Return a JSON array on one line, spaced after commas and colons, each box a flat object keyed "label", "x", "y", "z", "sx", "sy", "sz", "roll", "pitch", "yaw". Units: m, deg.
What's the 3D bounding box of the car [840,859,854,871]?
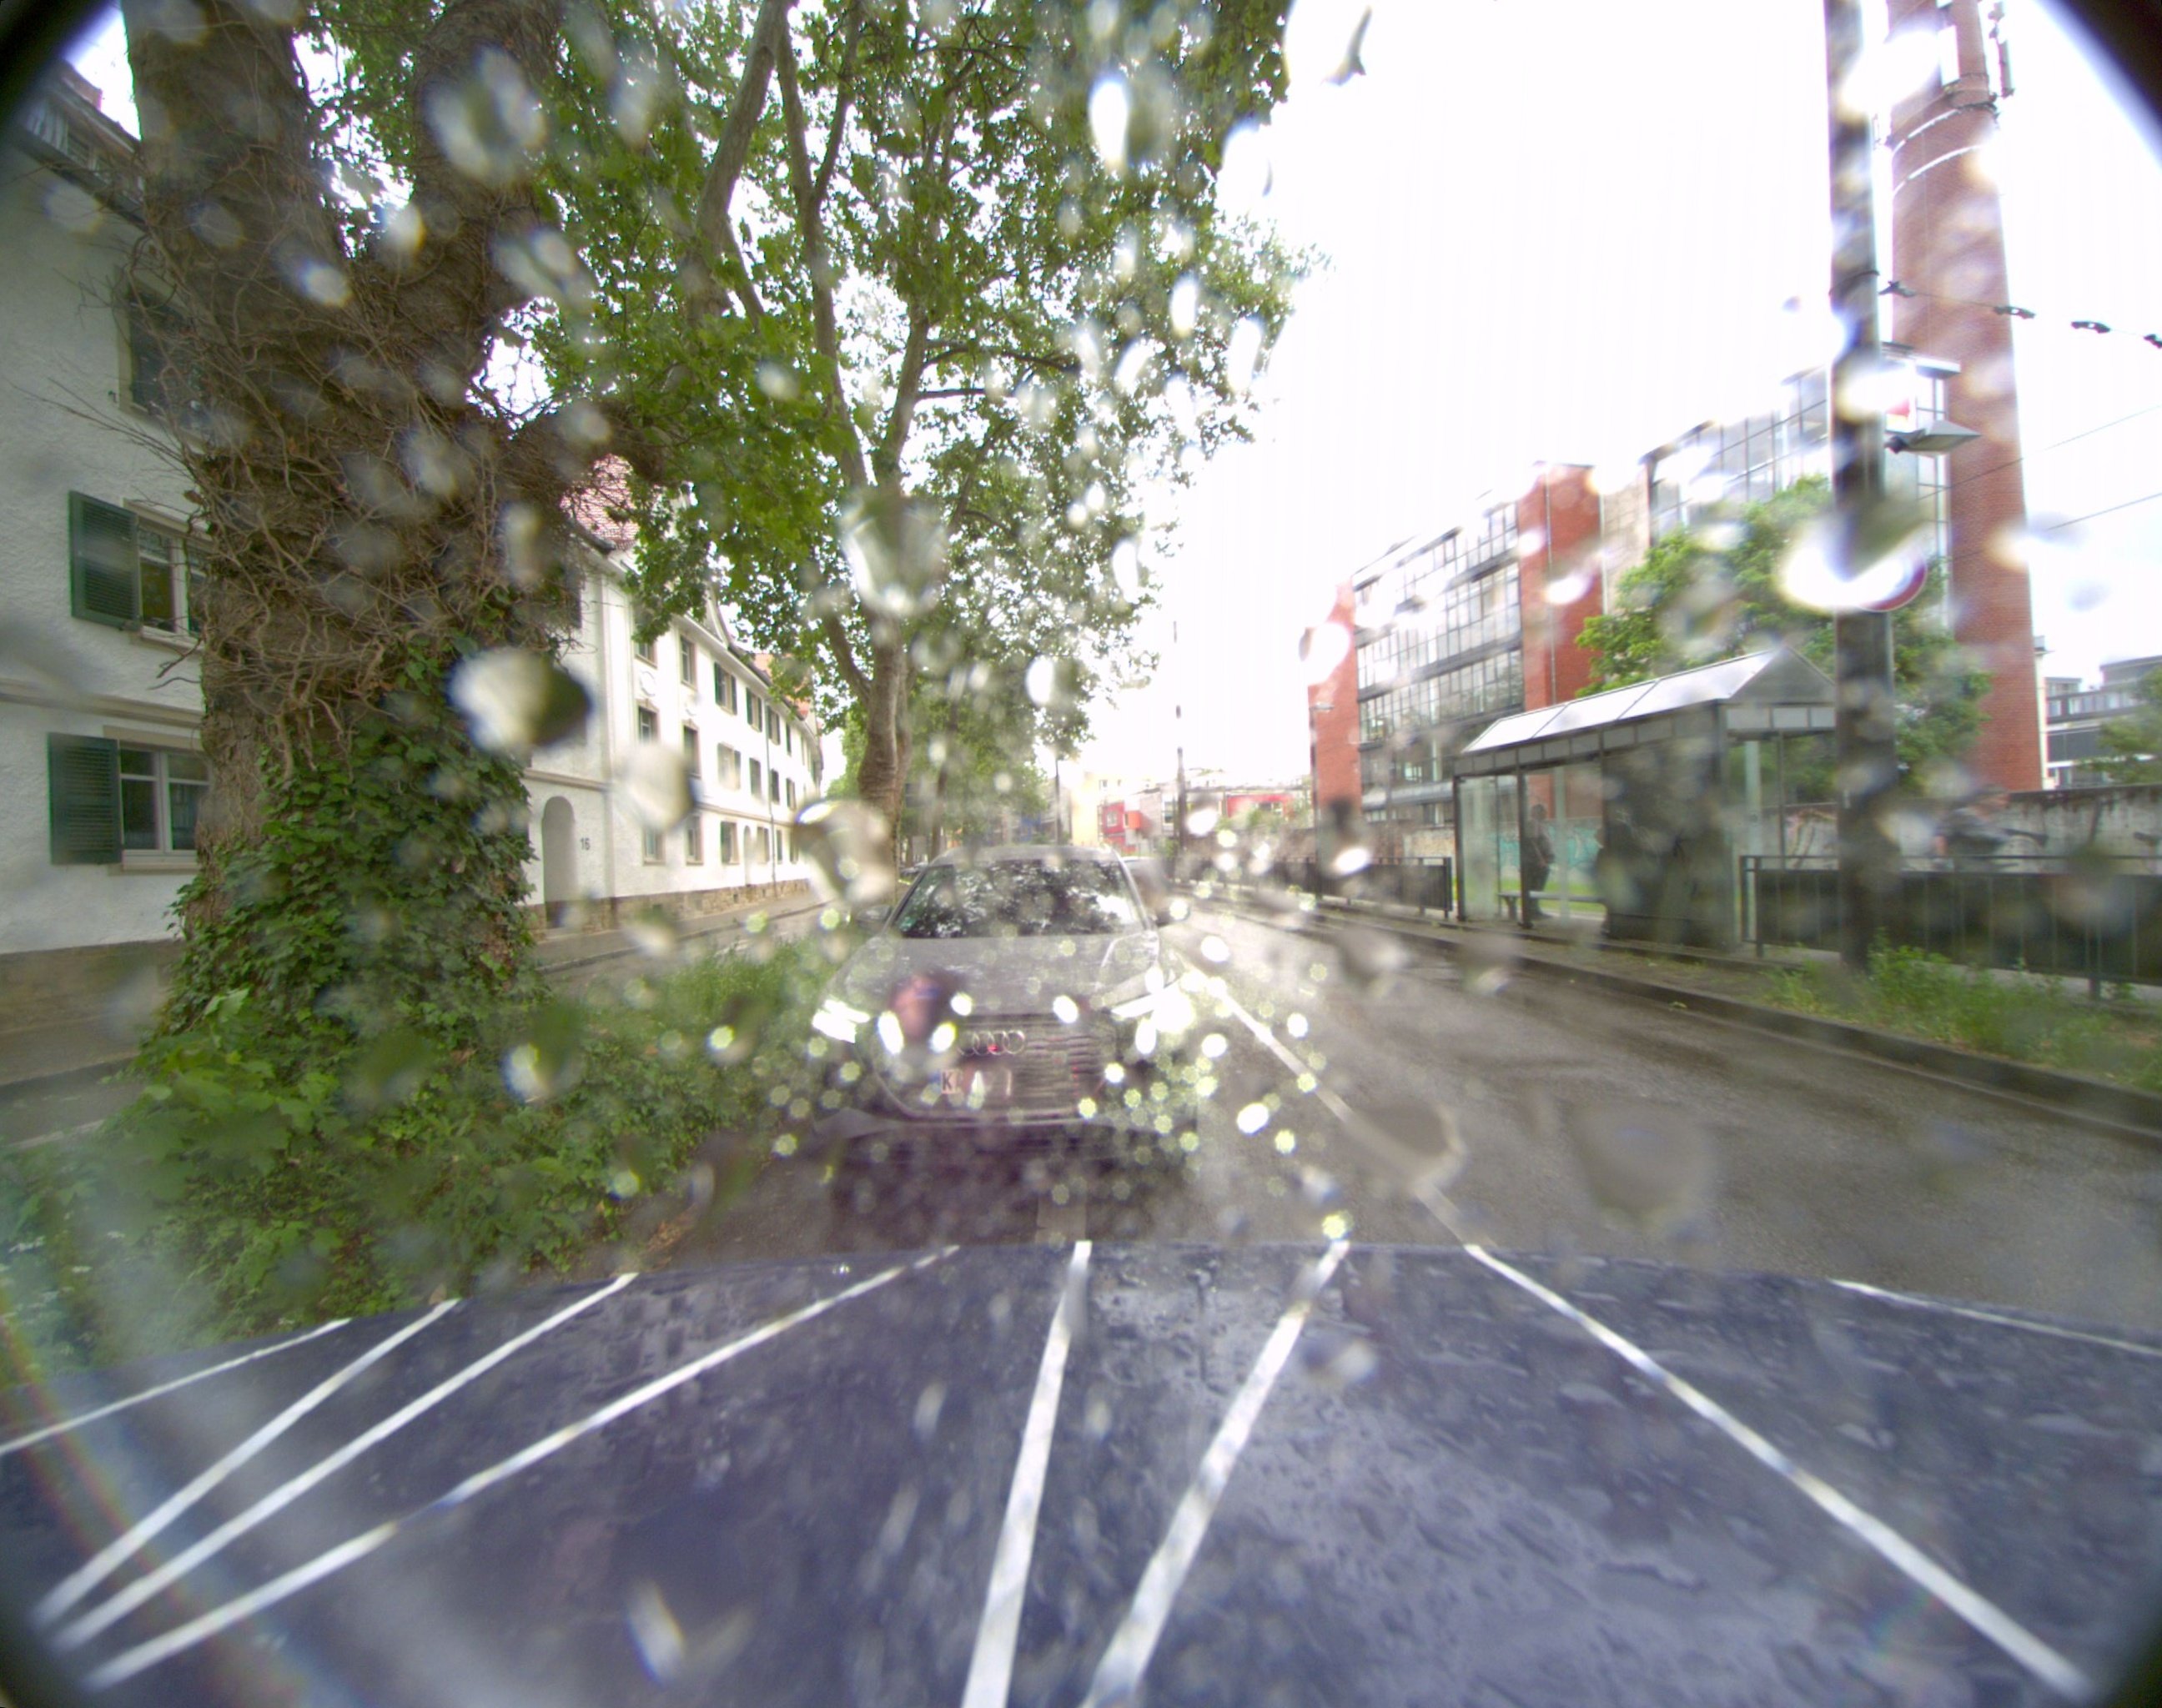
[{"label": "car", "x": -40.308, "y": 1.837, "z": 130.573, "sx": 2.002, "sy": 2.001, "sz": 3.993, "roll": 3, "pitch": -1, "yaw": -20}]

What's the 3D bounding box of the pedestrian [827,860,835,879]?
[{"label": "pedestrian", "x": -25.066, "y": 1.537, "z": 76.203, "sx": 0.674, "sy": 1.811, "sz": 0.678, "roll": -3, "pitch": 1, "yaw": -18}]

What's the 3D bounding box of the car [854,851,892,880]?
[{"label": "car", "x": -17.540, "y": 0.933, "z": 63.876, "sx": 2.199, "sy": 2.250, "sz": 5.401, "roll": -3, "pitch": 0, "yaw": -24}]

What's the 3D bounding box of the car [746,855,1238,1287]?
[{"label": "car", "x": -0.410, "y": 0.875, "z": 5.123, "sx": 1.917, "sy": 1.632, "sz": 4.106, "roll": -2, "pitch": 0, "yaw": -2}]

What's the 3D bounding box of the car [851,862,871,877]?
[{"label": "car", "x": -24.030, "y": 1.667, "z": 82.909, "sx": 1.834, "sy": 1.517, "sz": 3.993, "roll": -2, "pitch": 1, "yaw": -19}]

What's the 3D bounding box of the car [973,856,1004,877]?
[{"label": "car", "x": -8.146, "y": 1.110, "z": 66.632, "sx": 1.810, "sy": 1.673, "sz": 4.596, "roll": -3, "pitch": 0, "yaw": -18}]

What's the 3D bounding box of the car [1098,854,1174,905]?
[{"label": "car", "x": 1.725, "y": 0.770, "z": 25.094, "sx": 1.719, "sy": 1.451, "sz": 3.745, "roll": -2, "pitch": 1, "yaw": -8}]

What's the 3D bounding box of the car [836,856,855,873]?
[{"label": "car", "x": -29.718, "y": 1.311, "z": 95.745, "sx": 2.002, "sy": 2.001, "sz": 3.993, "roll": 3, "pitch": -1, "yaw": -20}]

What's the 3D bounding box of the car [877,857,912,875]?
[{"label": "car", "x": -23.211, "y": 1.506, "z": 94.661, "sx": 4.002, "sy": 2.002, "sz": 1.997, "roll": -2, "pitch": 0, "yaw": -17}]

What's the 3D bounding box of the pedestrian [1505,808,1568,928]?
[{"label": "pedestrian", "x": 6.793, "y": 0.204, "z": 11.346, "sx": 0.629, "sy": 1.738, "sz": 0.514, "roll": -2, "pitch": 1, "yaw": 9}]

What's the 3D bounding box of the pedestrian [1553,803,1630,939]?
[{"label": "pedestrian", "x": 6.736, "y": 0.220, "z": 10.048, "sx": 0.629, "sy": 1.738, "sz": 0.564, "roll": -2, "pitch": 1, "yaw": 9}]

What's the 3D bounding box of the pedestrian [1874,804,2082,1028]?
[{"label": "pedestrian", "x": 7.776, "y": 0.501, "z": 6.626, "sx": 0.828, "sy": 1.794, "sz": 0.843, "roll": -3, "pitch": 1, "yaw": -10}]
